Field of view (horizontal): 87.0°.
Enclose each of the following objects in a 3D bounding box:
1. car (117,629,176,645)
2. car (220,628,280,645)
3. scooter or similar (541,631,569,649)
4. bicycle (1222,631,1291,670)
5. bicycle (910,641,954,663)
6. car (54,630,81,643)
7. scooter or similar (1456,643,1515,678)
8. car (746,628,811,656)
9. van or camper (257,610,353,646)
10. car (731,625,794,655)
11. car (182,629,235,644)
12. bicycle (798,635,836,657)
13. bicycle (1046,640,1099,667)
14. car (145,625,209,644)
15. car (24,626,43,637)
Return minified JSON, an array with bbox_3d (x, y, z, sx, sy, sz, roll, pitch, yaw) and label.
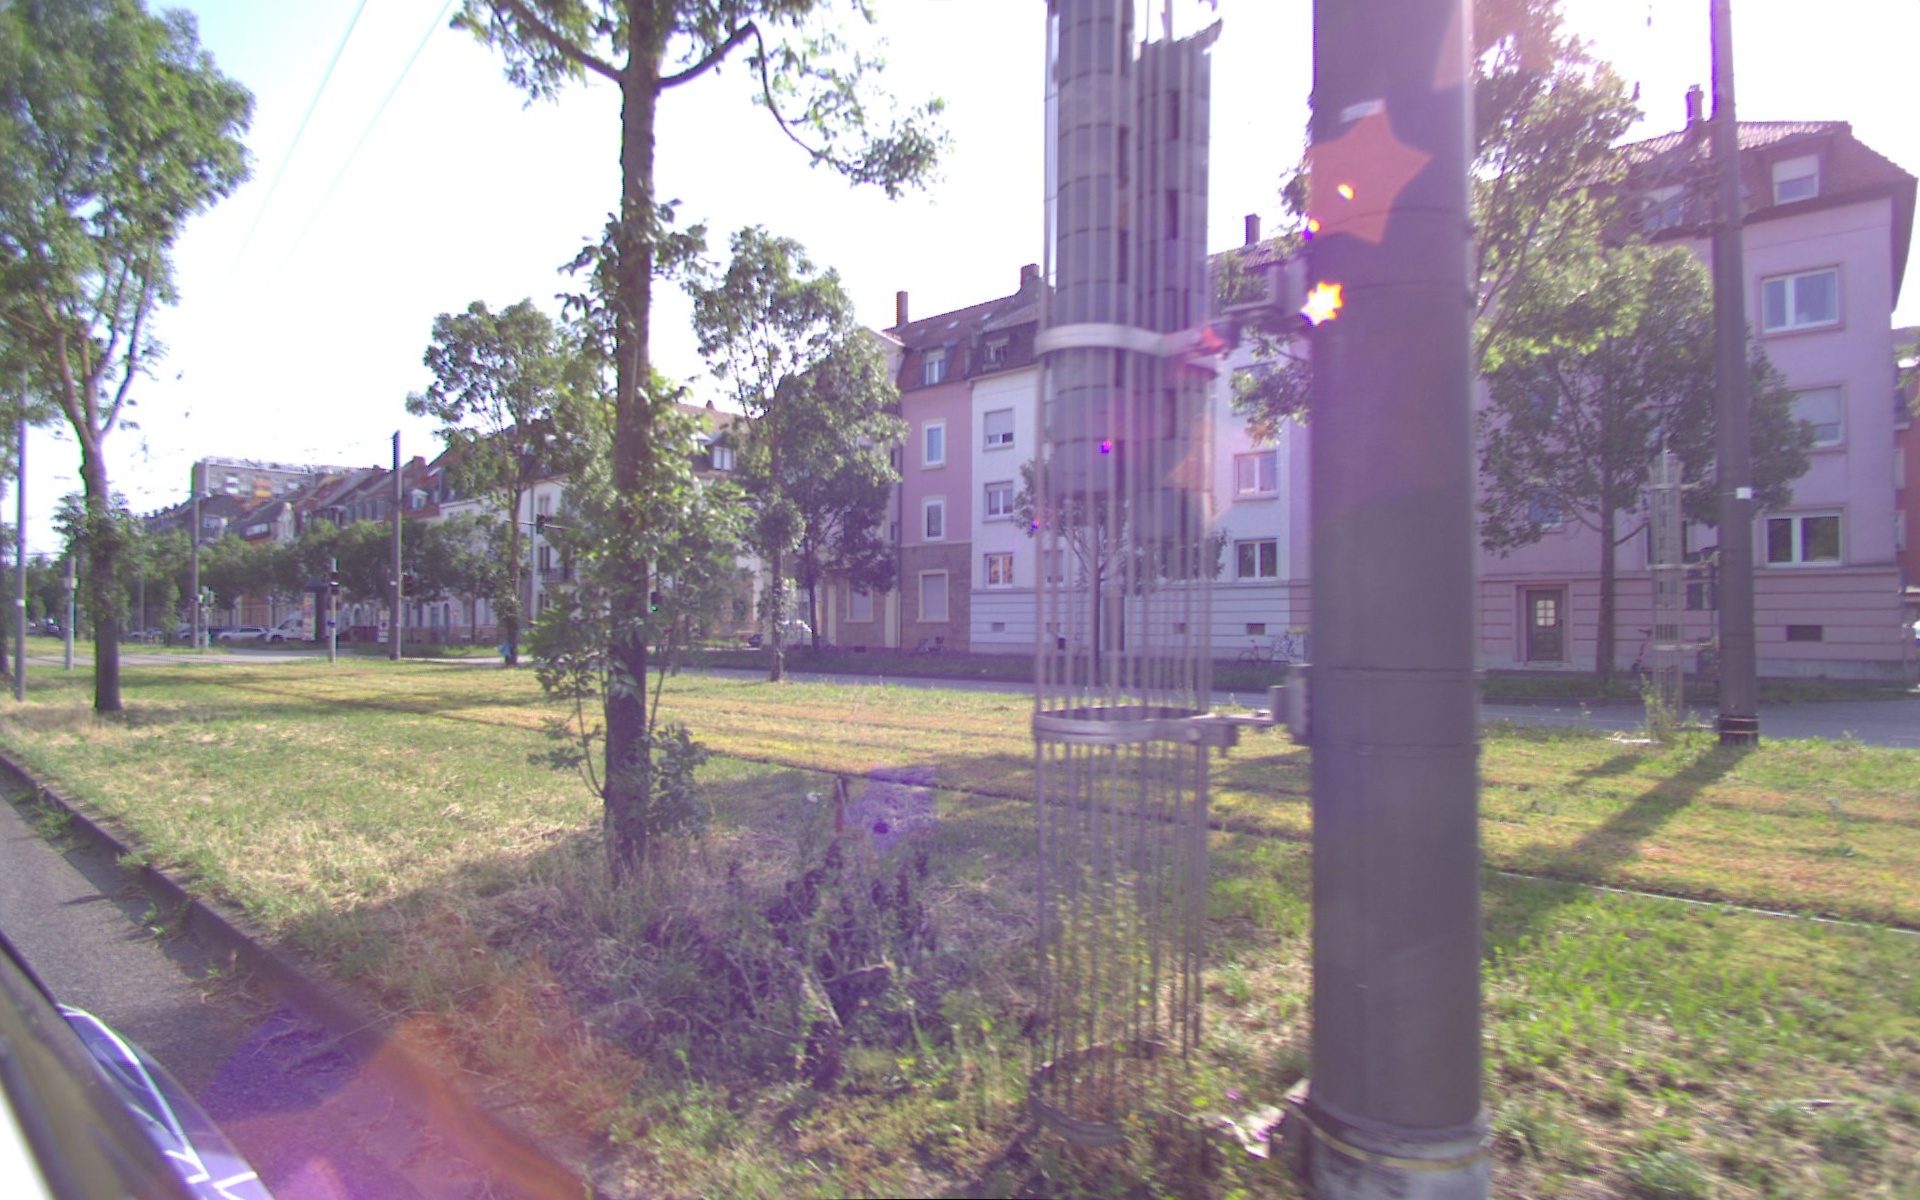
[{"bbox_3d":[-91.072,4.116,113.342,4.696,1.496,2.029,-1,1,-17],"label":"car"},{"bbox_3d":[-61.383,3.147,87.551,3.947,1.326,1.667,-1,0,-14],"label":"car"},{"bbox_3d":[-24.629,2.429,61.576,1.477,1.077,0.737,-1,0,20],"label":"scooter or similar"},{"bbox_3d":[9.104,1.539,31.137,1.946,1.136,0.598,-1,1,40],"label":"bicycle"},{"bbox_3d":[-1.124,2.060,40.312,1.946,0.795,0.433,-1,1,40],"label":"bicycle"},{"bbox_3d":[-104.723,4.283,118.744,3.923,1.444,1.794,-1,1,41],"label":"car"},{"bbox_3d":[13.819,1.583,26.627,0.596,0.819,1.223,-2,1,-38],"label":"scooter or similar"},{"bbox_3d":[-11.892,2.735,66.531,1.832,1.633,3.948,-1,1,39],"label":"car"},{"bbox_3d":[-51.103,2.139,79.080,5.826,2.593,2.205,-1,0,-14],"label":"van or camper"},{"bbox_3d":[-13.353,2.680,68.679,1.832,1.863,3.948,-1,1,39],"label":"car"},{"bbox_3d":[-71.303,3.459,96.092,3.625,1.251,1.667,-1,0,-14],"label":"car"},{"bbox_3d":[-6.359,2.038,44.981,1.946,0.895,0.463,-1,1,40],"label":"bicycle"},{"bbox_3d":[3.952,1.877,35.684,1.946,0.863,0.443,-1,1,40],"label":"bicycle"},{"bbox_3d":[-81.270,3.607,105.117,4.869,1.739,1.862,-1,0,-14],"label":"car"},{"bbox_3d":[-142.723,4.828,155.893,4.649,1.470,1.926,-1,1,44],"label":"car"}]
